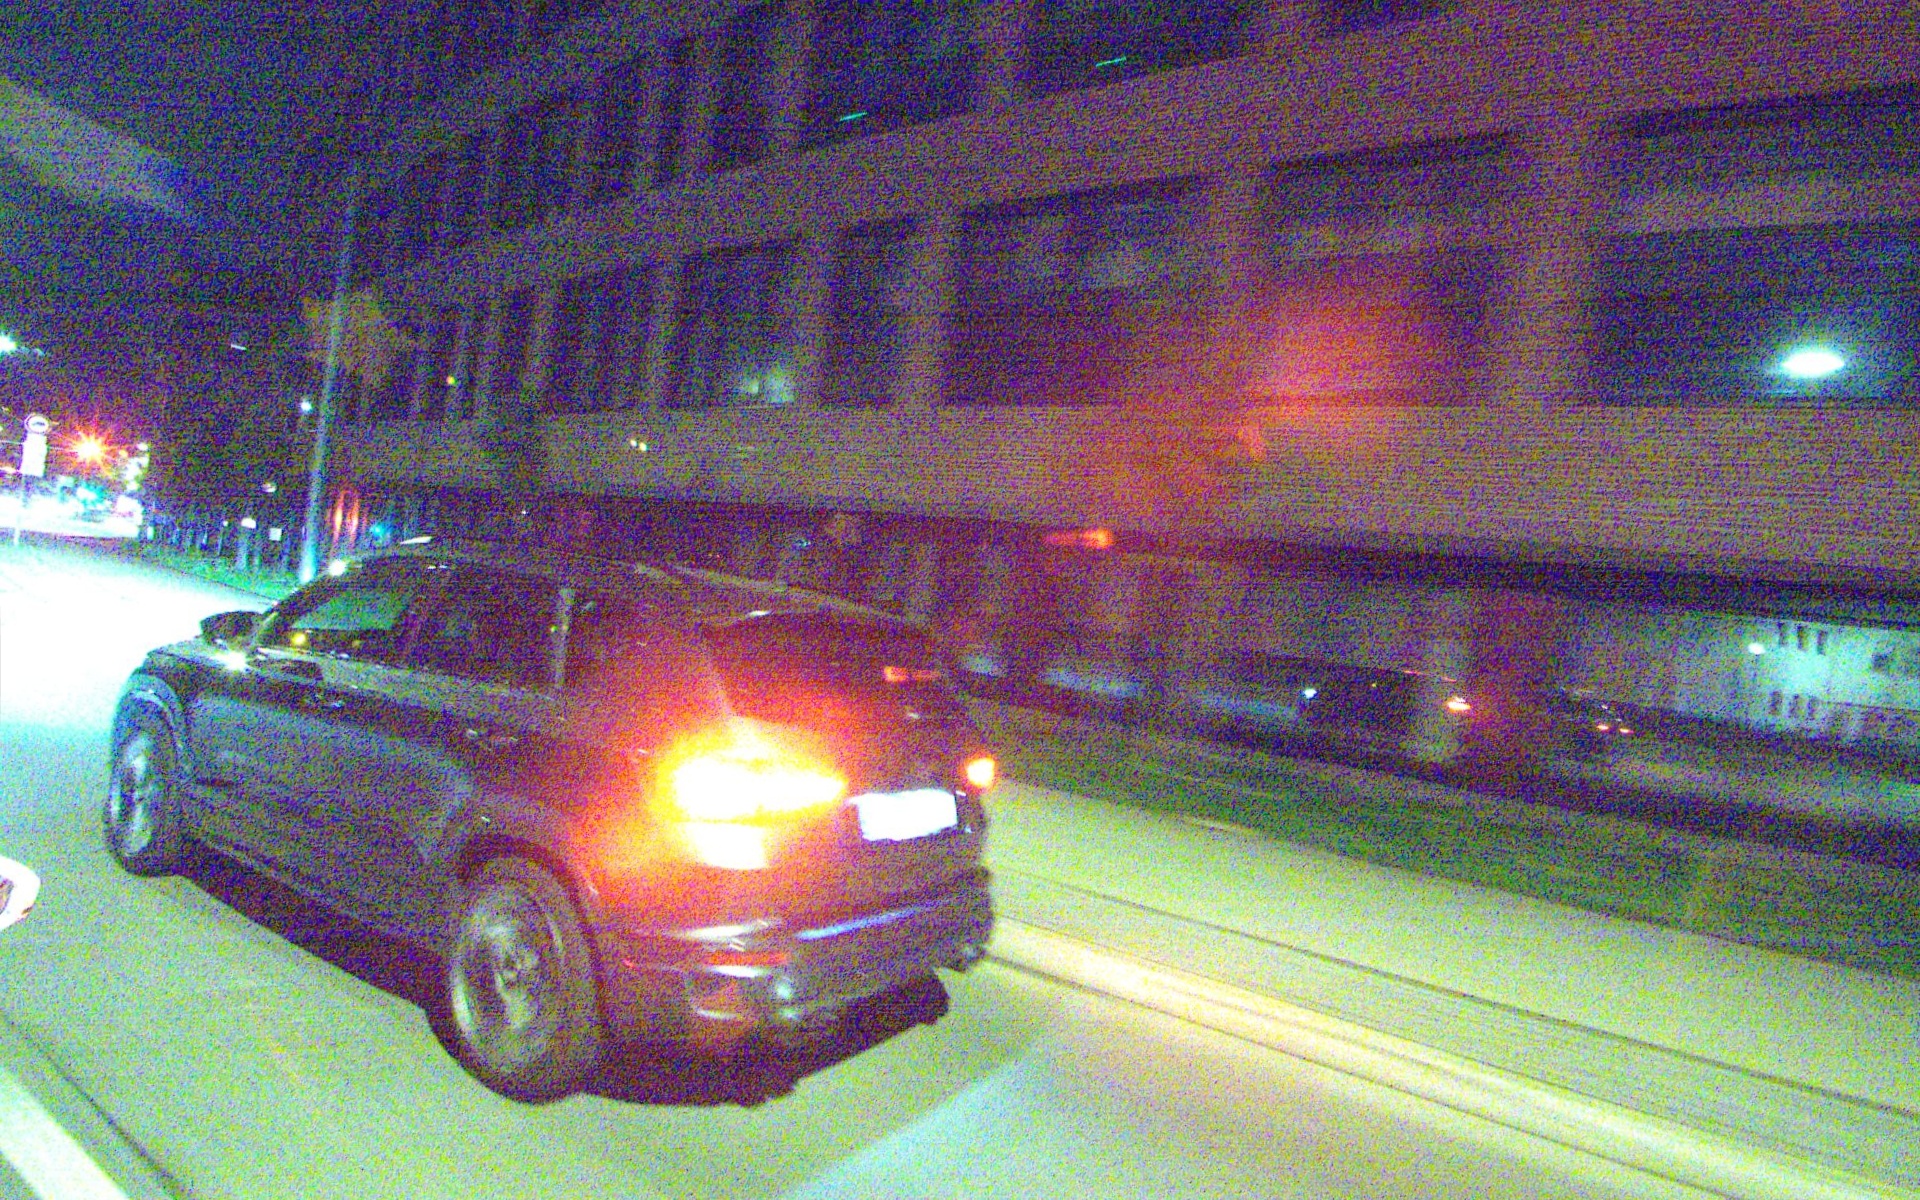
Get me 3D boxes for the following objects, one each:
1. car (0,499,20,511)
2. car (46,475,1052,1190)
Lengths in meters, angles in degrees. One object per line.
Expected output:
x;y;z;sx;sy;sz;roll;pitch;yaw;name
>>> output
-133.895;-13.337;141.699;1.750;1.337;3.511;9;-2;-38;car
-1.928;0.510;4.252;4.160;1.628;1.673;6;-2;32;car
